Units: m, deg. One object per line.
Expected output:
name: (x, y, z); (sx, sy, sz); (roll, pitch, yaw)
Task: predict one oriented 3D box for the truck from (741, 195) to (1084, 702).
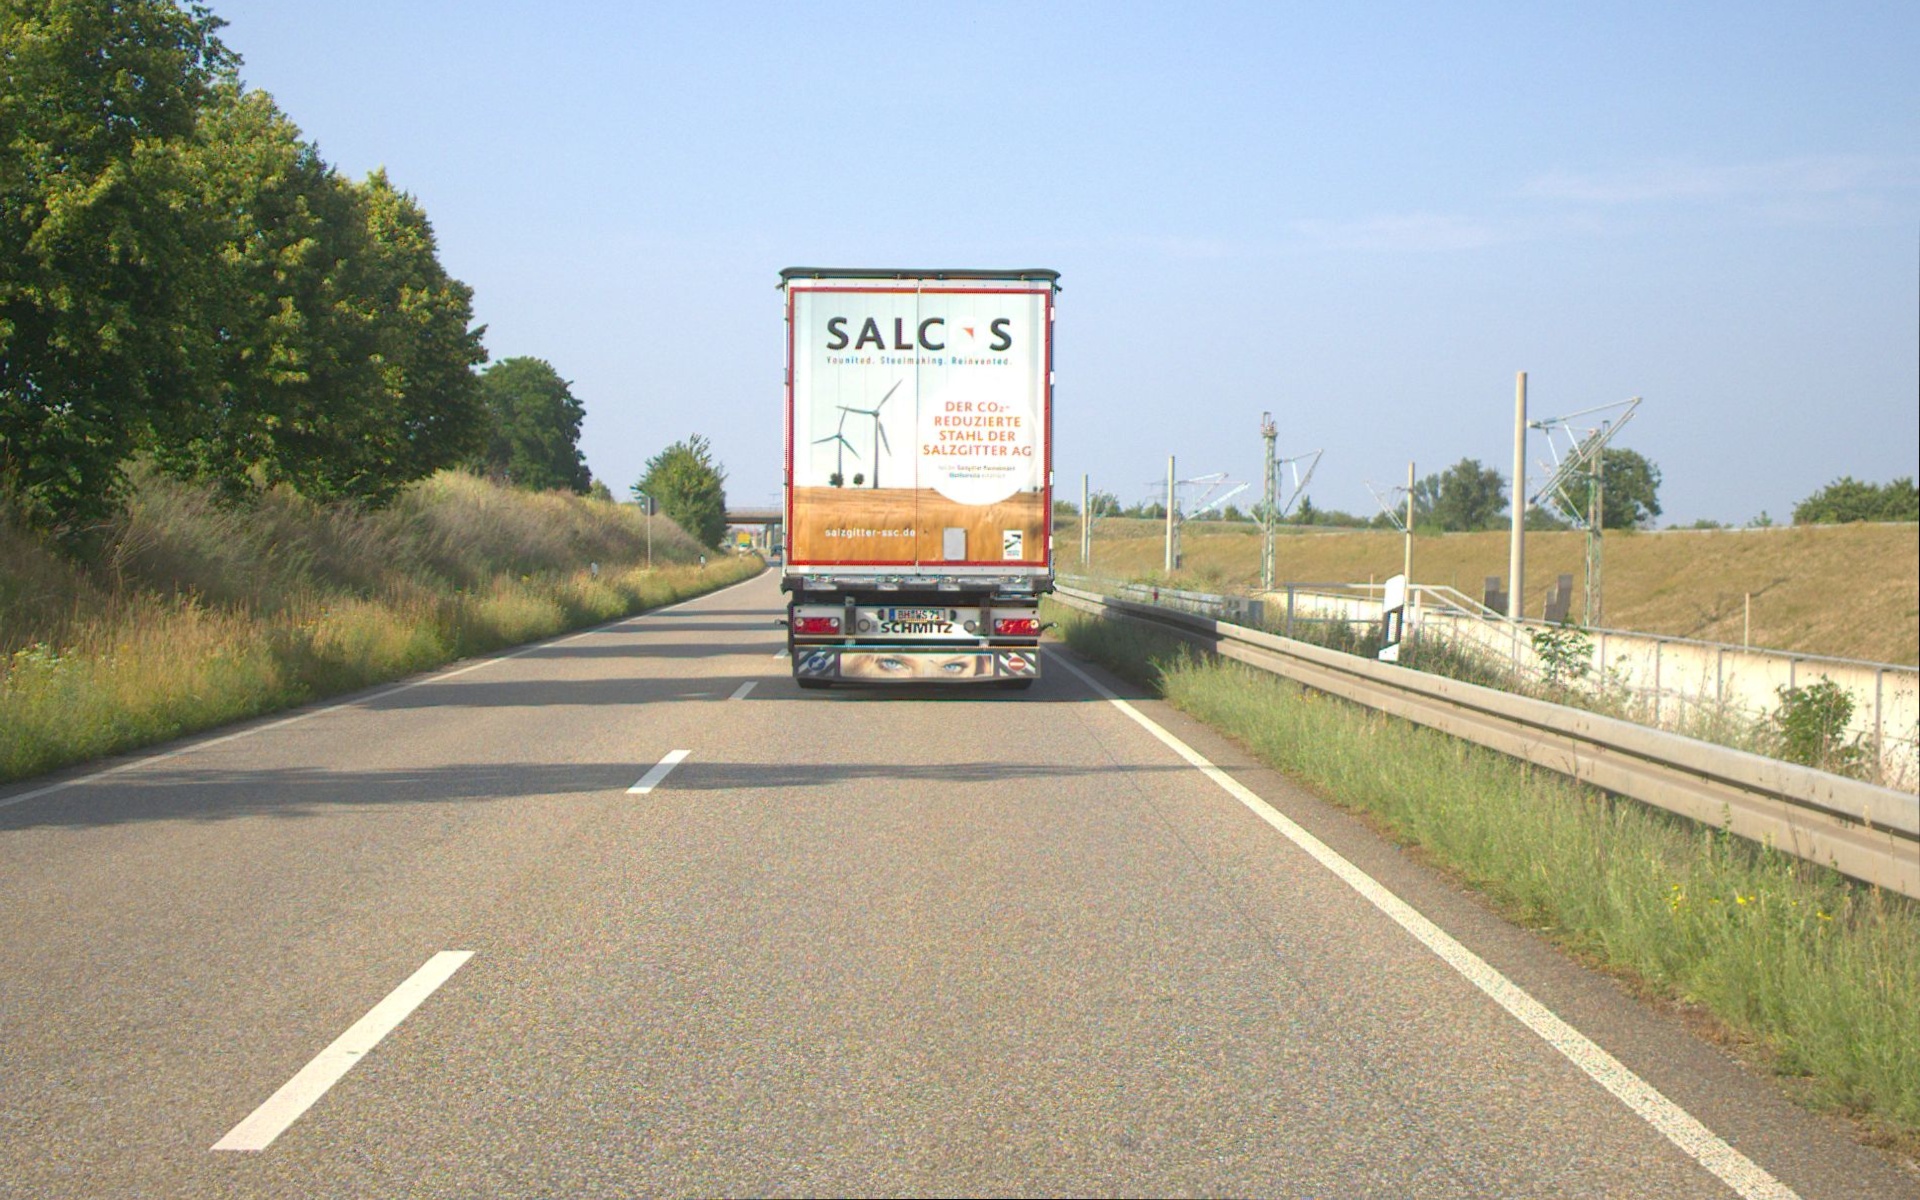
truck: (-0.404, -1.490, 36.026); (3.153, 4.672, 8.442); (0, 1, 0)
